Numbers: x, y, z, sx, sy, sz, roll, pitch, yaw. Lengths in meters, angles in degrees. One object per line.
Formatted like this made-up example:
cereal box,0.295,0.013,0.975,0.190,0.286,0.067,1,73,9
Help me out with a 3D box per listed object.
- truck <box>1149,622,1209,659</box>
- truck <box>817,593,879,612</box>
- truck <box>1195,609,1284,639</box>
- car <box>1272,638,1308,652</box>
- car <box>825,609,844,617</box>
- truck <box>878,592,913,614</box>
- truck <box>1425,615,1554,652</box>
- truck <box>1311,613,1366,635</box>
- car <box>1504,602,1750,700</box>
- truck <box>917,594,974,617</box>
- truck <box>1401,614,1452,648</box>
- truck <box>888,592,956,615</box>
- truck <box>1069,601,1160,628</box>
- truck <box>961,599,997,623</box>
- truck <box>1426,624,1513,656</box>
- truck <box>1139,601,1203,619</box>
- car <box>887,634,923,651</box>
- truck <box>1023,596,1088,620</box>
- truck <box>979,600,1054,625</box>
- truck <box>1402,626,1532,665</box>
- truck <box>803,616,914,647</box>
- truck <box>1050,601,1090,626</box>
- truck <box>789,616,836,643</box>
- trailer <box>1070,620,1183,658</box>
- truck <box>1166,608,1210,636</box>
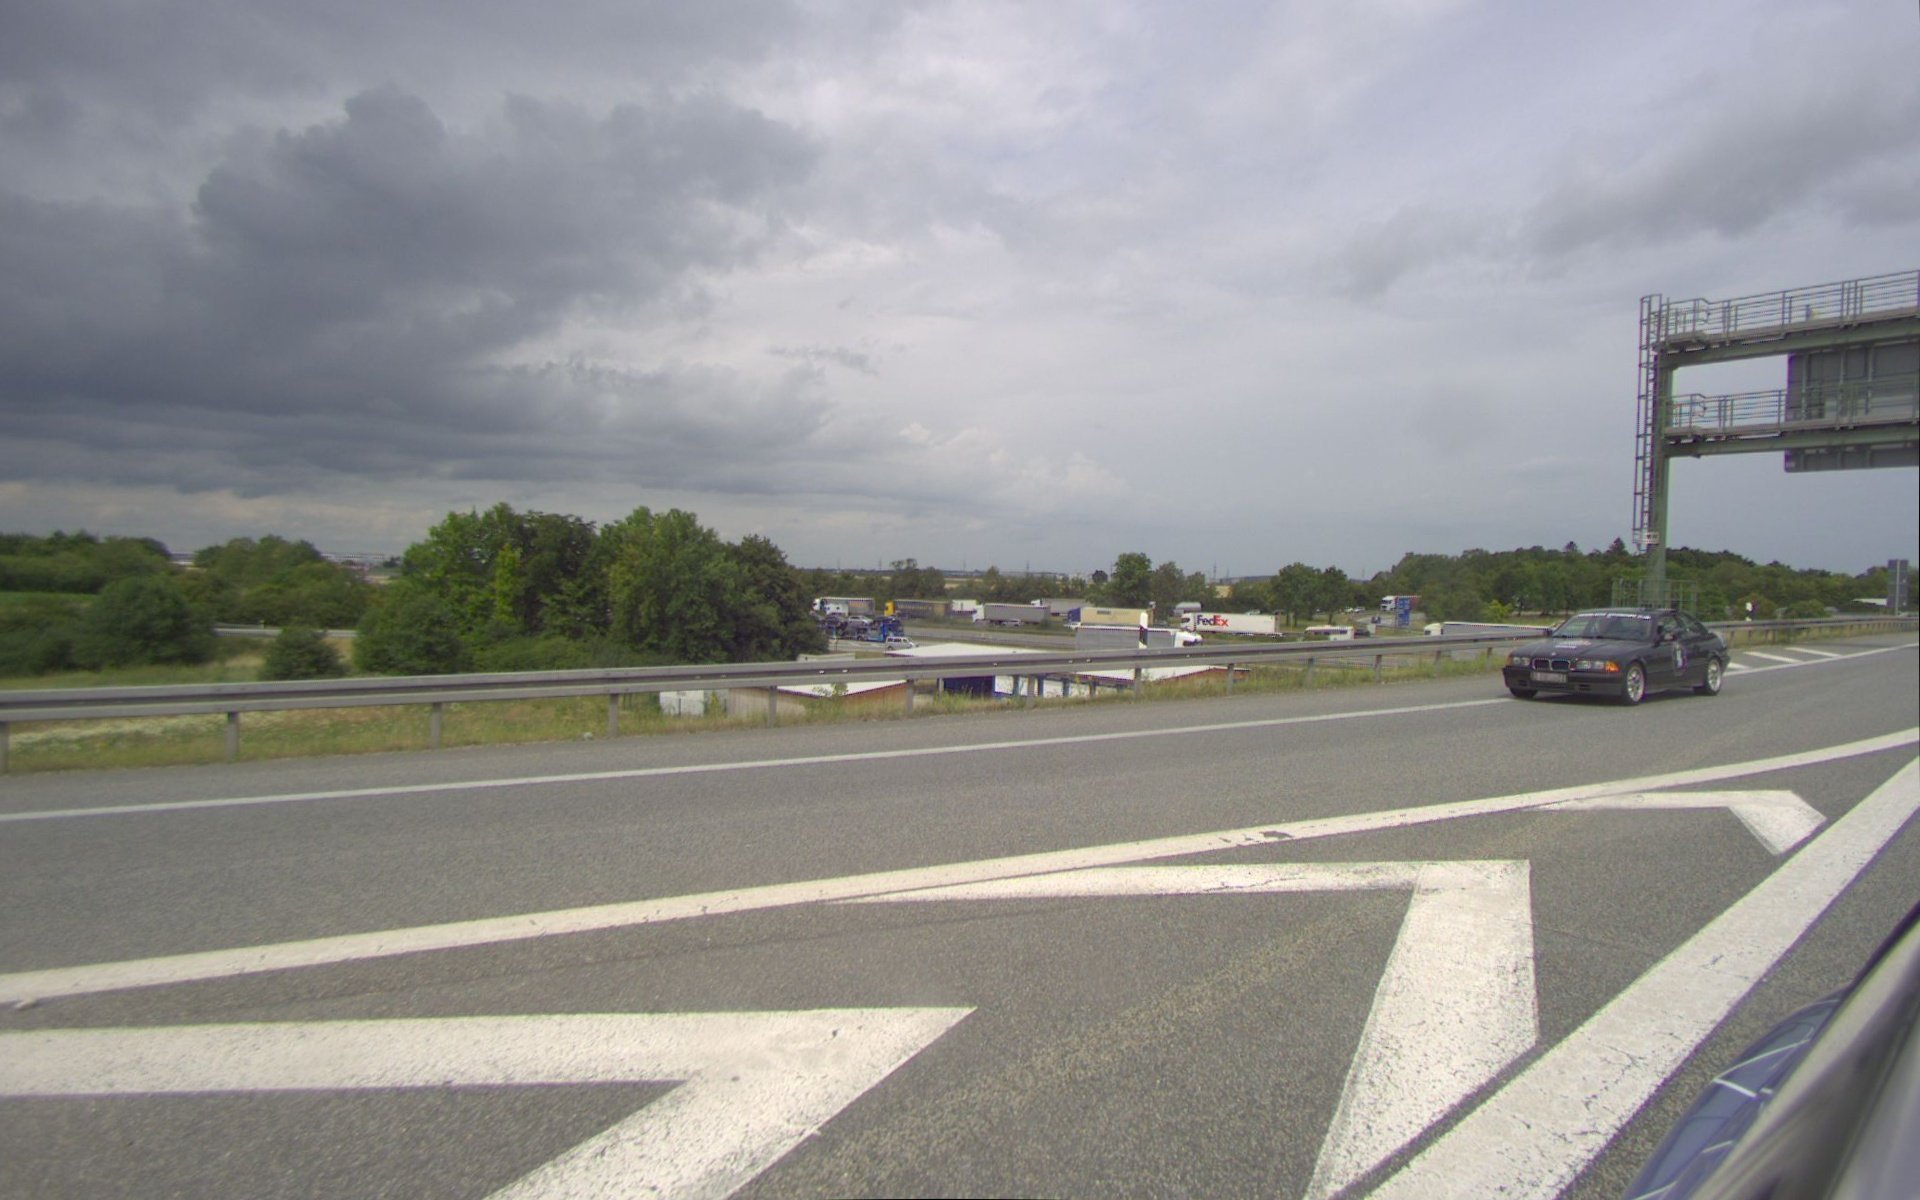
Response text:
truck,26.395,4.884,122.165,6.491,4.151,2.950,1,0,37
truck,-24.468,0.548,220.367,14.808,4.083,4.088,0,0,37
truck,46.175,3.821,167.375,13.710,4.612,3.955,0,-1,37
car,43.290,5.904,132.762,3.975,1.622,1.852,-3,-3,37
car,-26.037,2.676,209.891,3.978,1.505,1.715,1,0,38
truck,-13.556,0.681,212.822,6.465,4.555,4.015,0,0,39
truck,75.894,4.726,145.457,16.086,4.759,3.940,0,0,38
truck,57.390,3.581,153.414,7.524,3.237,2.202,0,-1,38
car,10.254,0.698,15.457,4.283,1.297,1.709,1,0,-35
truck,-3.406,1.302,235.919,12.785,5.105,3.942,1,-1,9
truck,69.374,4.568,150.536,6.257,4.734,3.880,0,0,37
truck,-7.885,0.743,208.160,15.227,4.612,3.952,0,-1,39
truck,27.603,2.539,181.972,16.273,4.612,3.954,0,-1,37
truck,3.736,2.202,199.892,6.259,4.568,3.879,0,0,38
truck,71.586,5.514,142.417,10.708,4.123,3.201,0,-1,34
truck,48.990,2.372,235.207,14.424,4.142,3.091,1,-1,-12
car,-7.469,5.741,138.147,4.636,2.039,1.995,3,-2,7
truck,21.778,1.814,231.301,14.587,5.281,3.857,1,-1,4
truck,10.810,2.286,194.314,14.804,4.612,3.953,0,-1,38
truck,58.068,5.187,116.256,13.055,3.725,2.466,2,0,35
truck,-15.687,4.705,154.073,18.918,4.111,3.945,0,0,35
truck,20.390,2.475,187.465,6.257,4.568,3.880,0,0,37
truck,-23.245,4.588,159.293,6.375,4.041,3.816,0,1,34
trailer,20.650,4.756,126.550,14.166,4.151,2.950,1,0,37
truck,38.965,3.701,172.851,6.258,4.568,3.880,0,0,37
